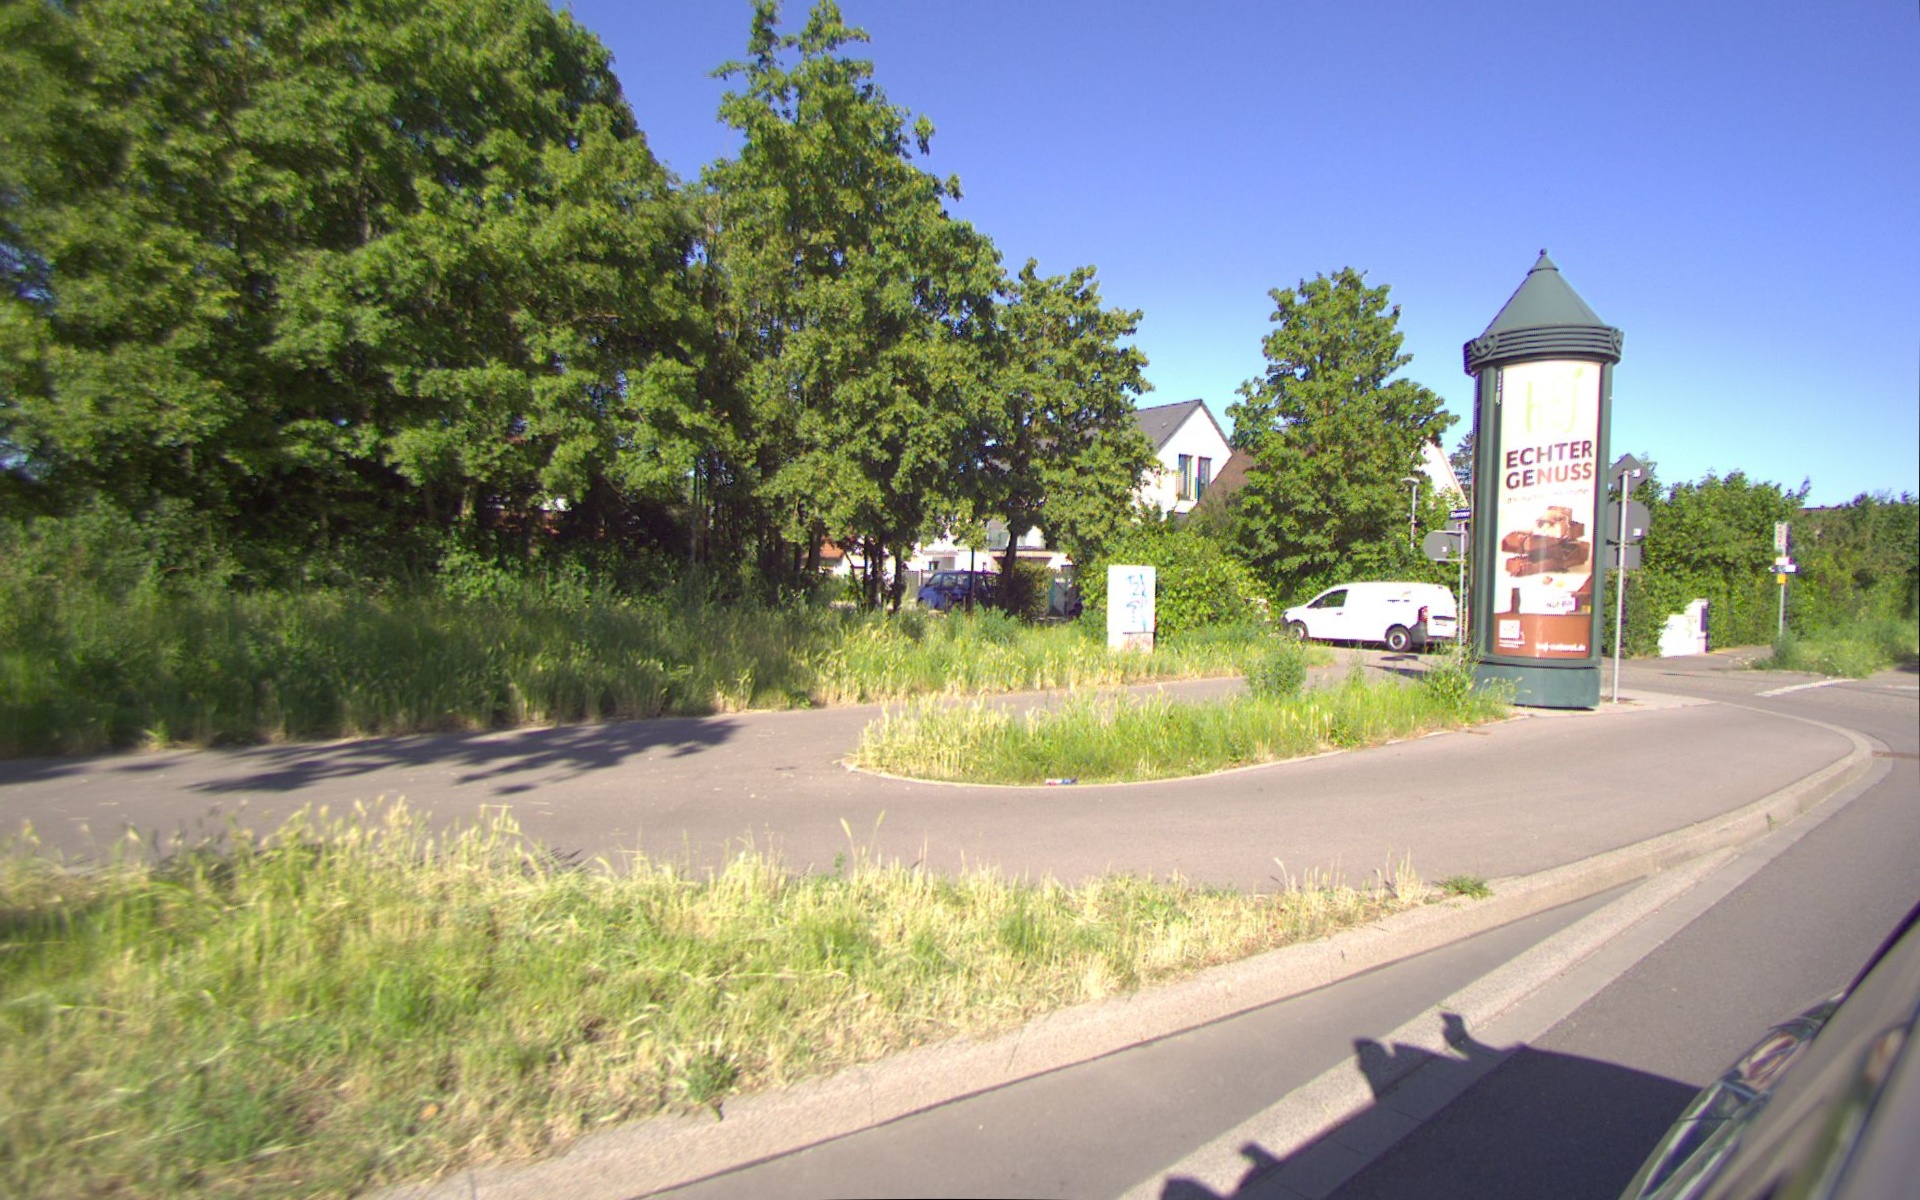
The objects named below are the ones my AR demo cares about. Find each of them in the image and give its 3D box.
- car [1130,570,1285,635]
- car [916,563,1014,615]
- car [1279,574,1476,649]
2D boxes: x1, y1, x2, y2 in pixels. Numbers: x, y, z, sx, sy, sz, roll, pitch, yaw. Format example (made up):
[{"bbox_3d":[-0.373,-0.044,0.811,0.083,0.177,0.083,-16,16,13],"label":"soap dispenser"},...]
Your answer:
[{"bbox_3d":[7.799,0.036,32.238,2.032,1.892,4.533,3,0,-35],"label":"car"},{"bbox_3d":[0.148,-0.492,43.566,1.949,2.071,4.393,3,0,-35],"label":"car"},{"bbox_3d":[11.245,0.257,27.587,1.895,1.824,4.646,3,0,-35],"label":"car"}]
